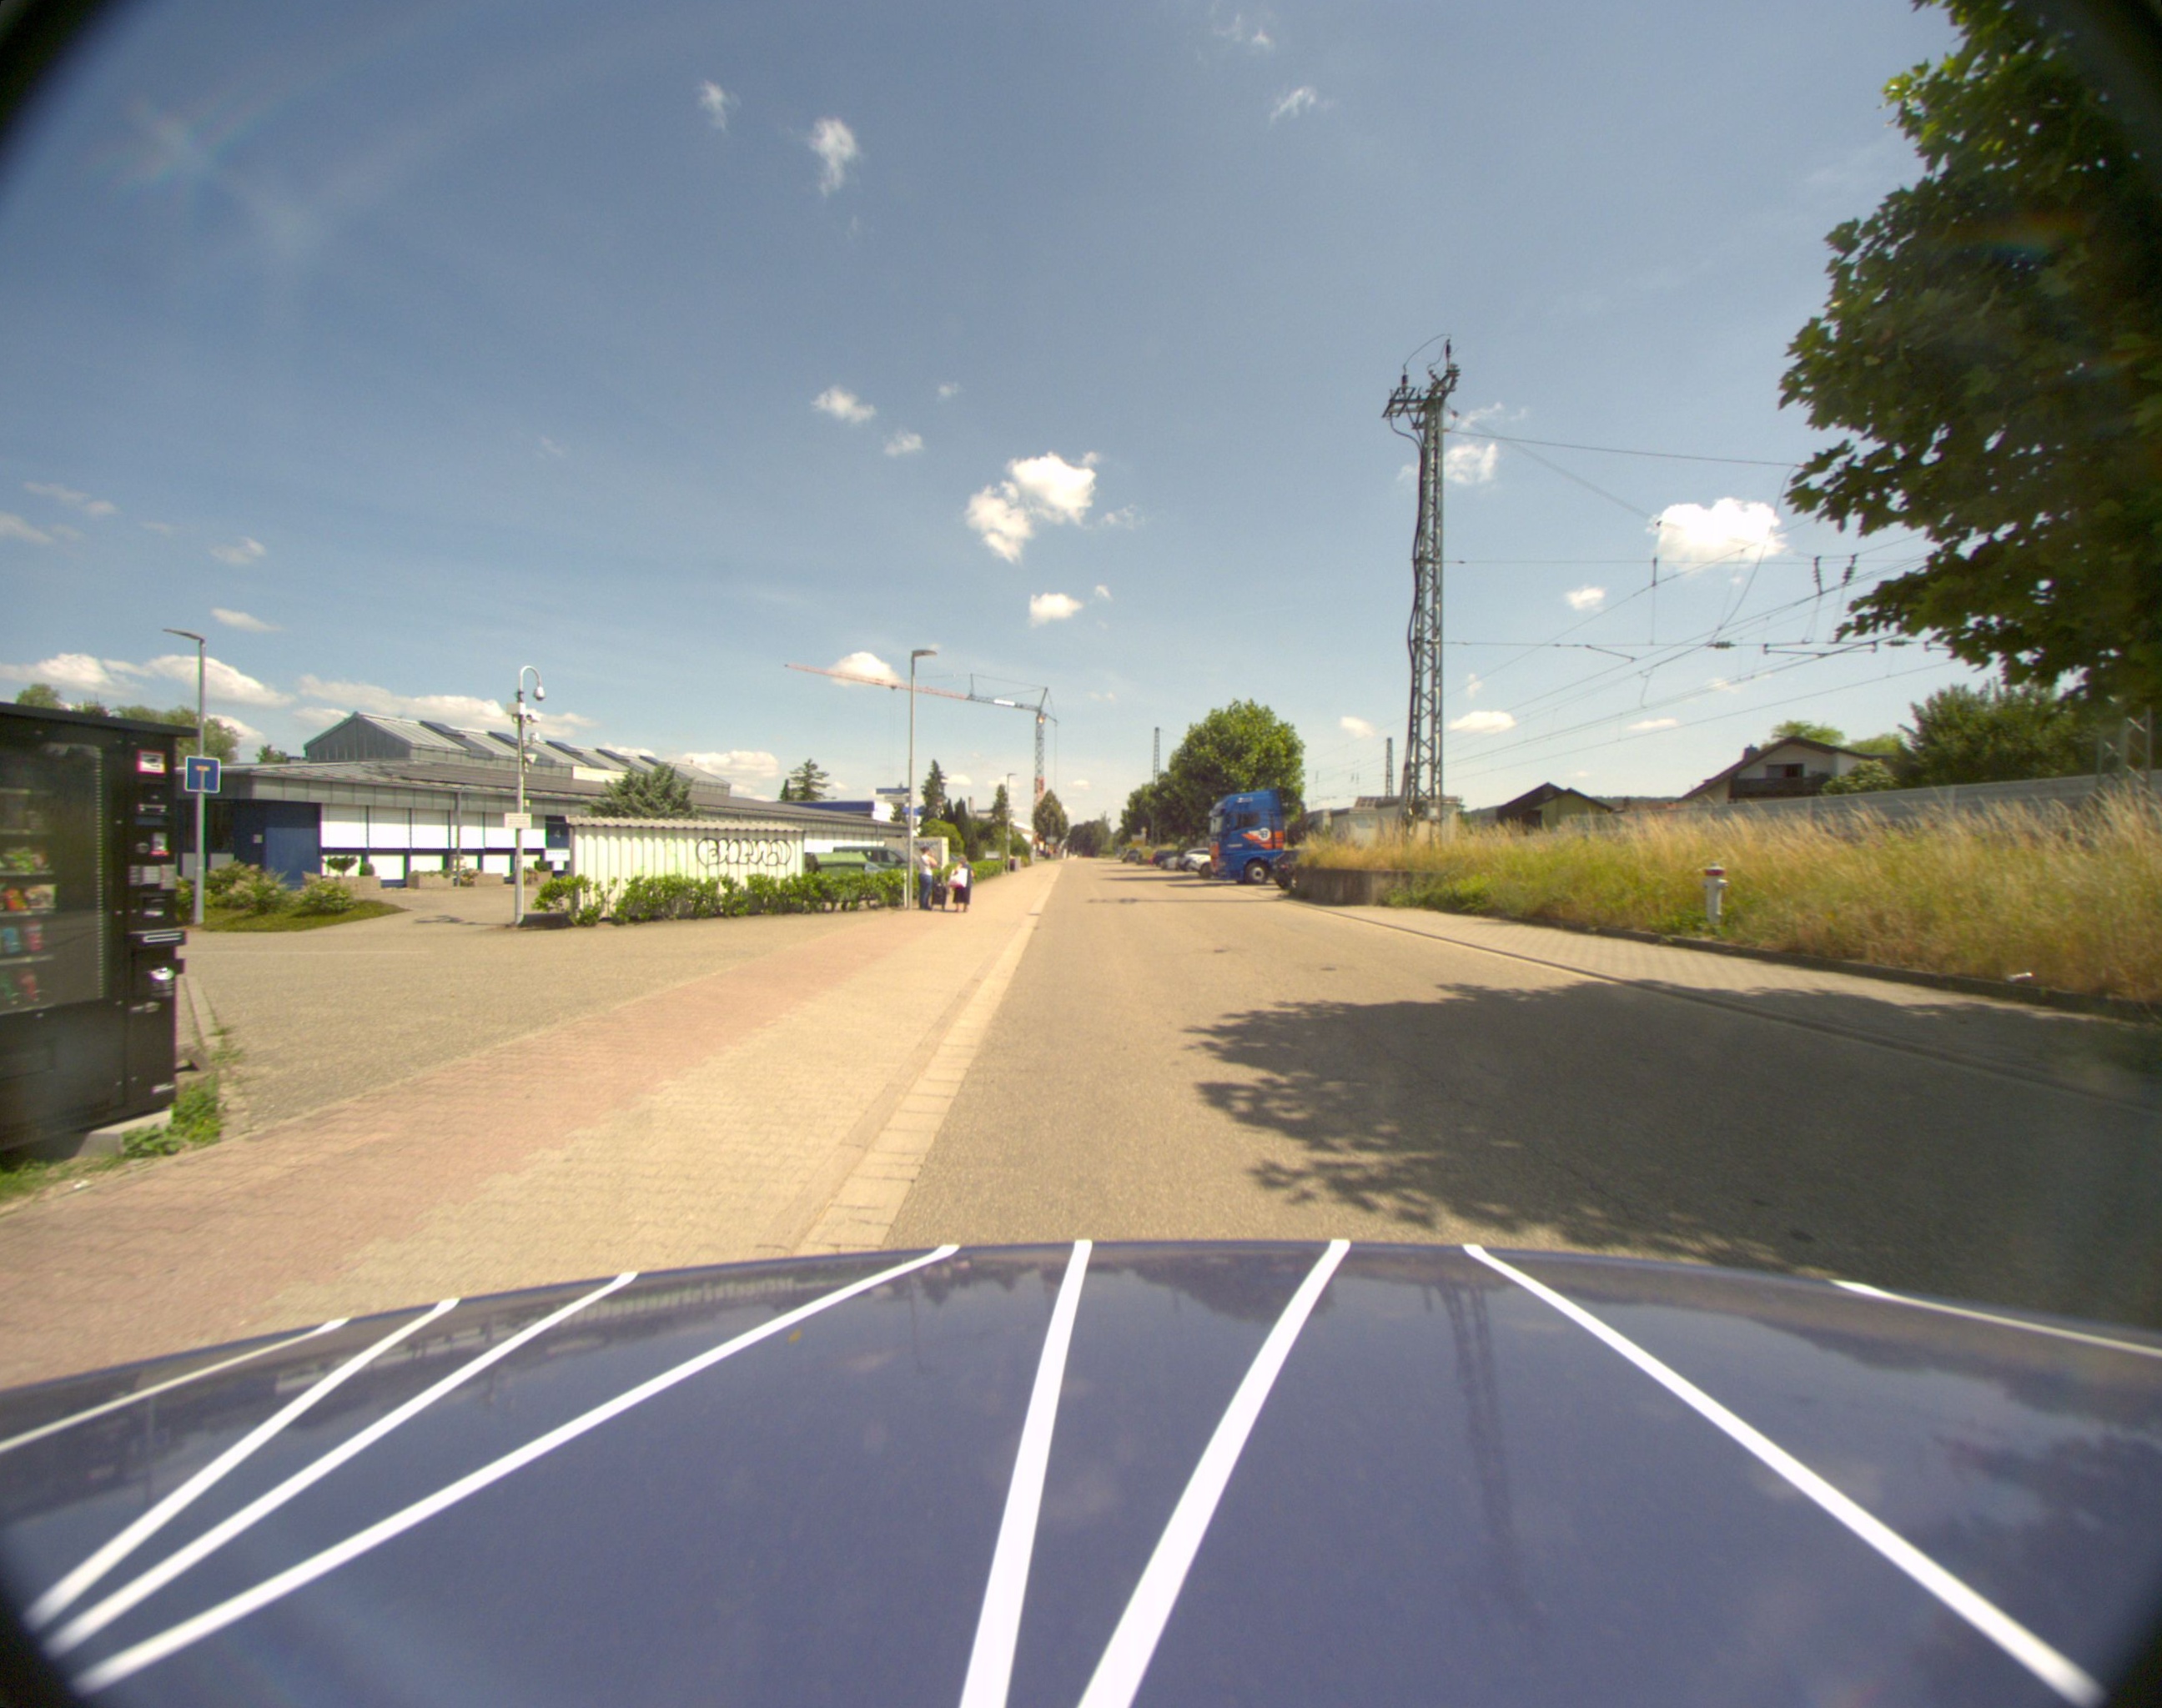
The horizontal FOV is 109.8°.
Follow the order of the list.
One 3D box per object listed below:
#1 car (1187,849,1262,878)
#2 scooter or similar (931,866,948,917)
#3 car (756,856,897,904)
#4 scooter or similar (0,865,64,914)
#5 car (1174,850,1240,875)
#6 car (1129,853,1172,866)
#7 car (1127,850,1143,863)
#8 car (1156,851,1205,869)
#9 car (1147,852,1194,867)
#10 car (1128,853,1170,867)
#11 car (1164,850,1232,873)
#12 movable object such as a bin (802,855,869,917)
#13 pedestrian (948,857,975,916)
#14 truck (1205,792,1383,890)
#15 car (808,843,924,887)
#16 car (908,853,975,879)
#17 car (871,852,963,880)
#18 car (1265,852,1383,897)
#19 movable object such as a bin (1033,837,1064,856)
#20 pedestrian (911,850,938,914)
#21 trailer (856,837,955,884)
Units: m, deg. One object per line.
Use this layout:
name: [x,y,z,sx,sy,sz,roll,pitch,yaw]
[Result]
car: [8.345,0.541,44.356,3.981,1.608,1.850,0,0,-4]
scooter or similar: [-3.458,0.913,18.542,0.334,1.191,0.397,1,3,0]
car: [-8.071,0.794,24.328,3.855,1.447,1.817,0,0,1]
scooter or similar: [-30.550,0.998,21.976,1.113,1.314,0.926,2,3,10]
car: [8.206,0.536,49.729,3.998,1.539,1.999,0,1,-2]
car: [7.578,0.571,82.968,4.438,1.402,1.787,1,0,-3]
car: [6.659,0.282,93.299,1.688,1.522,4.064,1,0,6]
car: [8.266,0.462,63.449,3.954,1.442,1.787,0,1,4]
car: [8.173,0.525,69.504,4.083,1.360,1.674,-1,-1,0]
car: [6.978,0.605,77.719,4.084,1.394,1.786,-1,1,-2]
car: [8.045,0.511,52.399,4.349,1.524,1.926,-1,0,-1]
movable object such as a bin: [-6.081,0.755,18.810,1.270,1.450,1.046,-2,1,-37]
pedestrian: [-2.909,0.786,18.524,0.566,1.397,0.583,1,3,-1]
truck: [8.787,-0.547,31.798,6.632,3.801,2.663,-1,1,-3]
car: [-8.702,0.438,31.037,4.224,1.625,1.800,1,2,-2]
car: [-7.888,0.690,43.128,3.360,1.393,1.770,1,0,4]
car: [-8.646,0.614,40.342,4.487,1.432,1.814,0,0,-4]
car: [8.770,0.719,27.594,3.653,1.492,1.699,1,2,-4]
movable object such as a bin: [-5.872,-1.388,138.054,5.133,3.276,2.390,0,6,-17]
pedestrian: [-3.868,0.685,18.839,0.536,1.531,0.510,2,2,-1]
trailer: [-7.901,0.297,34.403,3.997,2.001,2.000,-1,-1,0]
